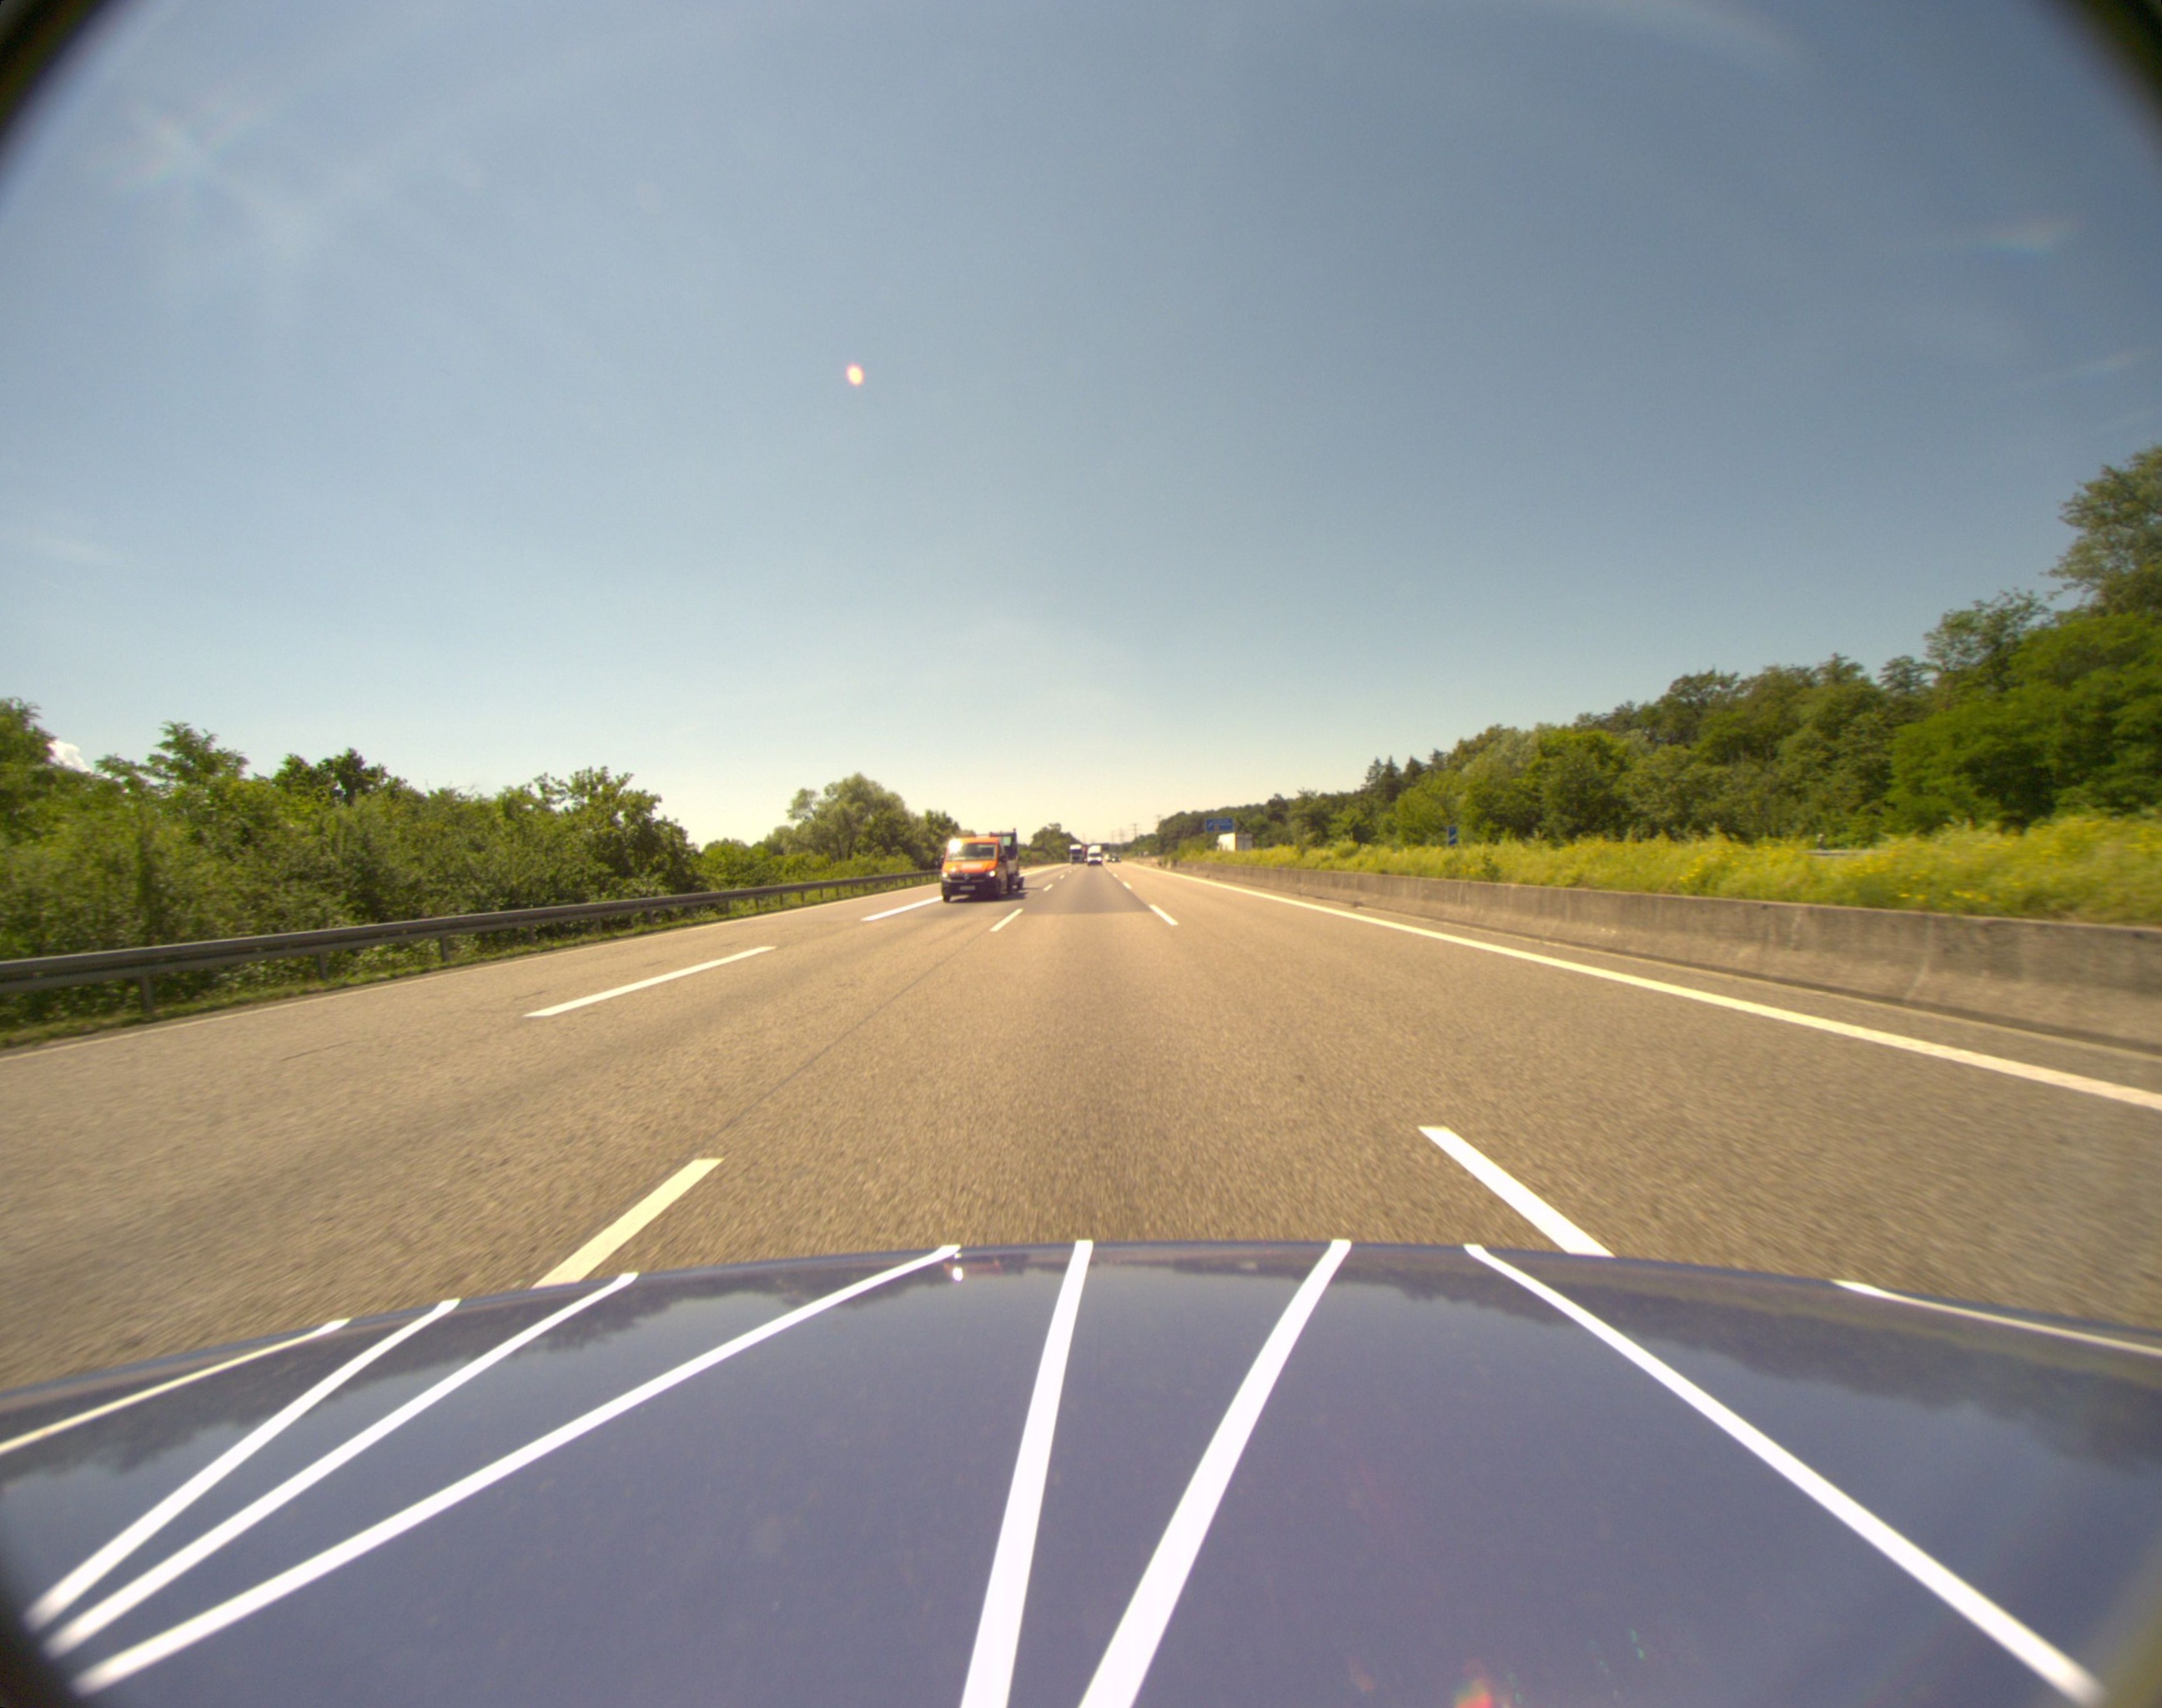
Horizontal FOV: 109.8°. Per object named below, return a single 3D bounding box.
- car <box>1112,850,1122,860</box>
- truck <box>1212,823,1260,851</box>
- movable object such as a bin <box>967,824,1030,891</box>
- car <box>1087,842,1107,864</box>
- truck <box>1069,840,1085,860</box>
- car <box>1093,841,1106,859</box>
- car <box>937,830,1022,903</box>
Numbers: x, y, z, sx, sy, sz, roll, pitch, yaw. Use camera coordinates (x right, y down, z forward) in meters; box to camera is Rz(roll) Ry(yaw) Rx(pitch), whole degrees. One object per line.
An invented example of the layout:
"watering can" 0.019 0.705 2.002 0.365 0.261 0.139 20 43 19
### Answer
"car" 7.576 0.283 160.628 1.998 2.001 4.001 -2 -1 0
"truck" 23.372 -2.458 115.919 3.607 3.713 17.484 -2 0 0
"movable object such as a bin" -3.732 0.164 35.347 2.179 2.799 4.761 -2 0 2
"car" 2.310 -0.172 108.596 2.521 2.857 6.401 -5 0 3
"truck" -0.834 -0.891 166.203 2.990 4.187 7.594 -3 0 3
"car" 4.439 -0.966 186.185 2.797 4.090 7.304 -2 1 0
"car" -3.719 0.433 29.386 1.998 2.391 7.227 -2 0 2
